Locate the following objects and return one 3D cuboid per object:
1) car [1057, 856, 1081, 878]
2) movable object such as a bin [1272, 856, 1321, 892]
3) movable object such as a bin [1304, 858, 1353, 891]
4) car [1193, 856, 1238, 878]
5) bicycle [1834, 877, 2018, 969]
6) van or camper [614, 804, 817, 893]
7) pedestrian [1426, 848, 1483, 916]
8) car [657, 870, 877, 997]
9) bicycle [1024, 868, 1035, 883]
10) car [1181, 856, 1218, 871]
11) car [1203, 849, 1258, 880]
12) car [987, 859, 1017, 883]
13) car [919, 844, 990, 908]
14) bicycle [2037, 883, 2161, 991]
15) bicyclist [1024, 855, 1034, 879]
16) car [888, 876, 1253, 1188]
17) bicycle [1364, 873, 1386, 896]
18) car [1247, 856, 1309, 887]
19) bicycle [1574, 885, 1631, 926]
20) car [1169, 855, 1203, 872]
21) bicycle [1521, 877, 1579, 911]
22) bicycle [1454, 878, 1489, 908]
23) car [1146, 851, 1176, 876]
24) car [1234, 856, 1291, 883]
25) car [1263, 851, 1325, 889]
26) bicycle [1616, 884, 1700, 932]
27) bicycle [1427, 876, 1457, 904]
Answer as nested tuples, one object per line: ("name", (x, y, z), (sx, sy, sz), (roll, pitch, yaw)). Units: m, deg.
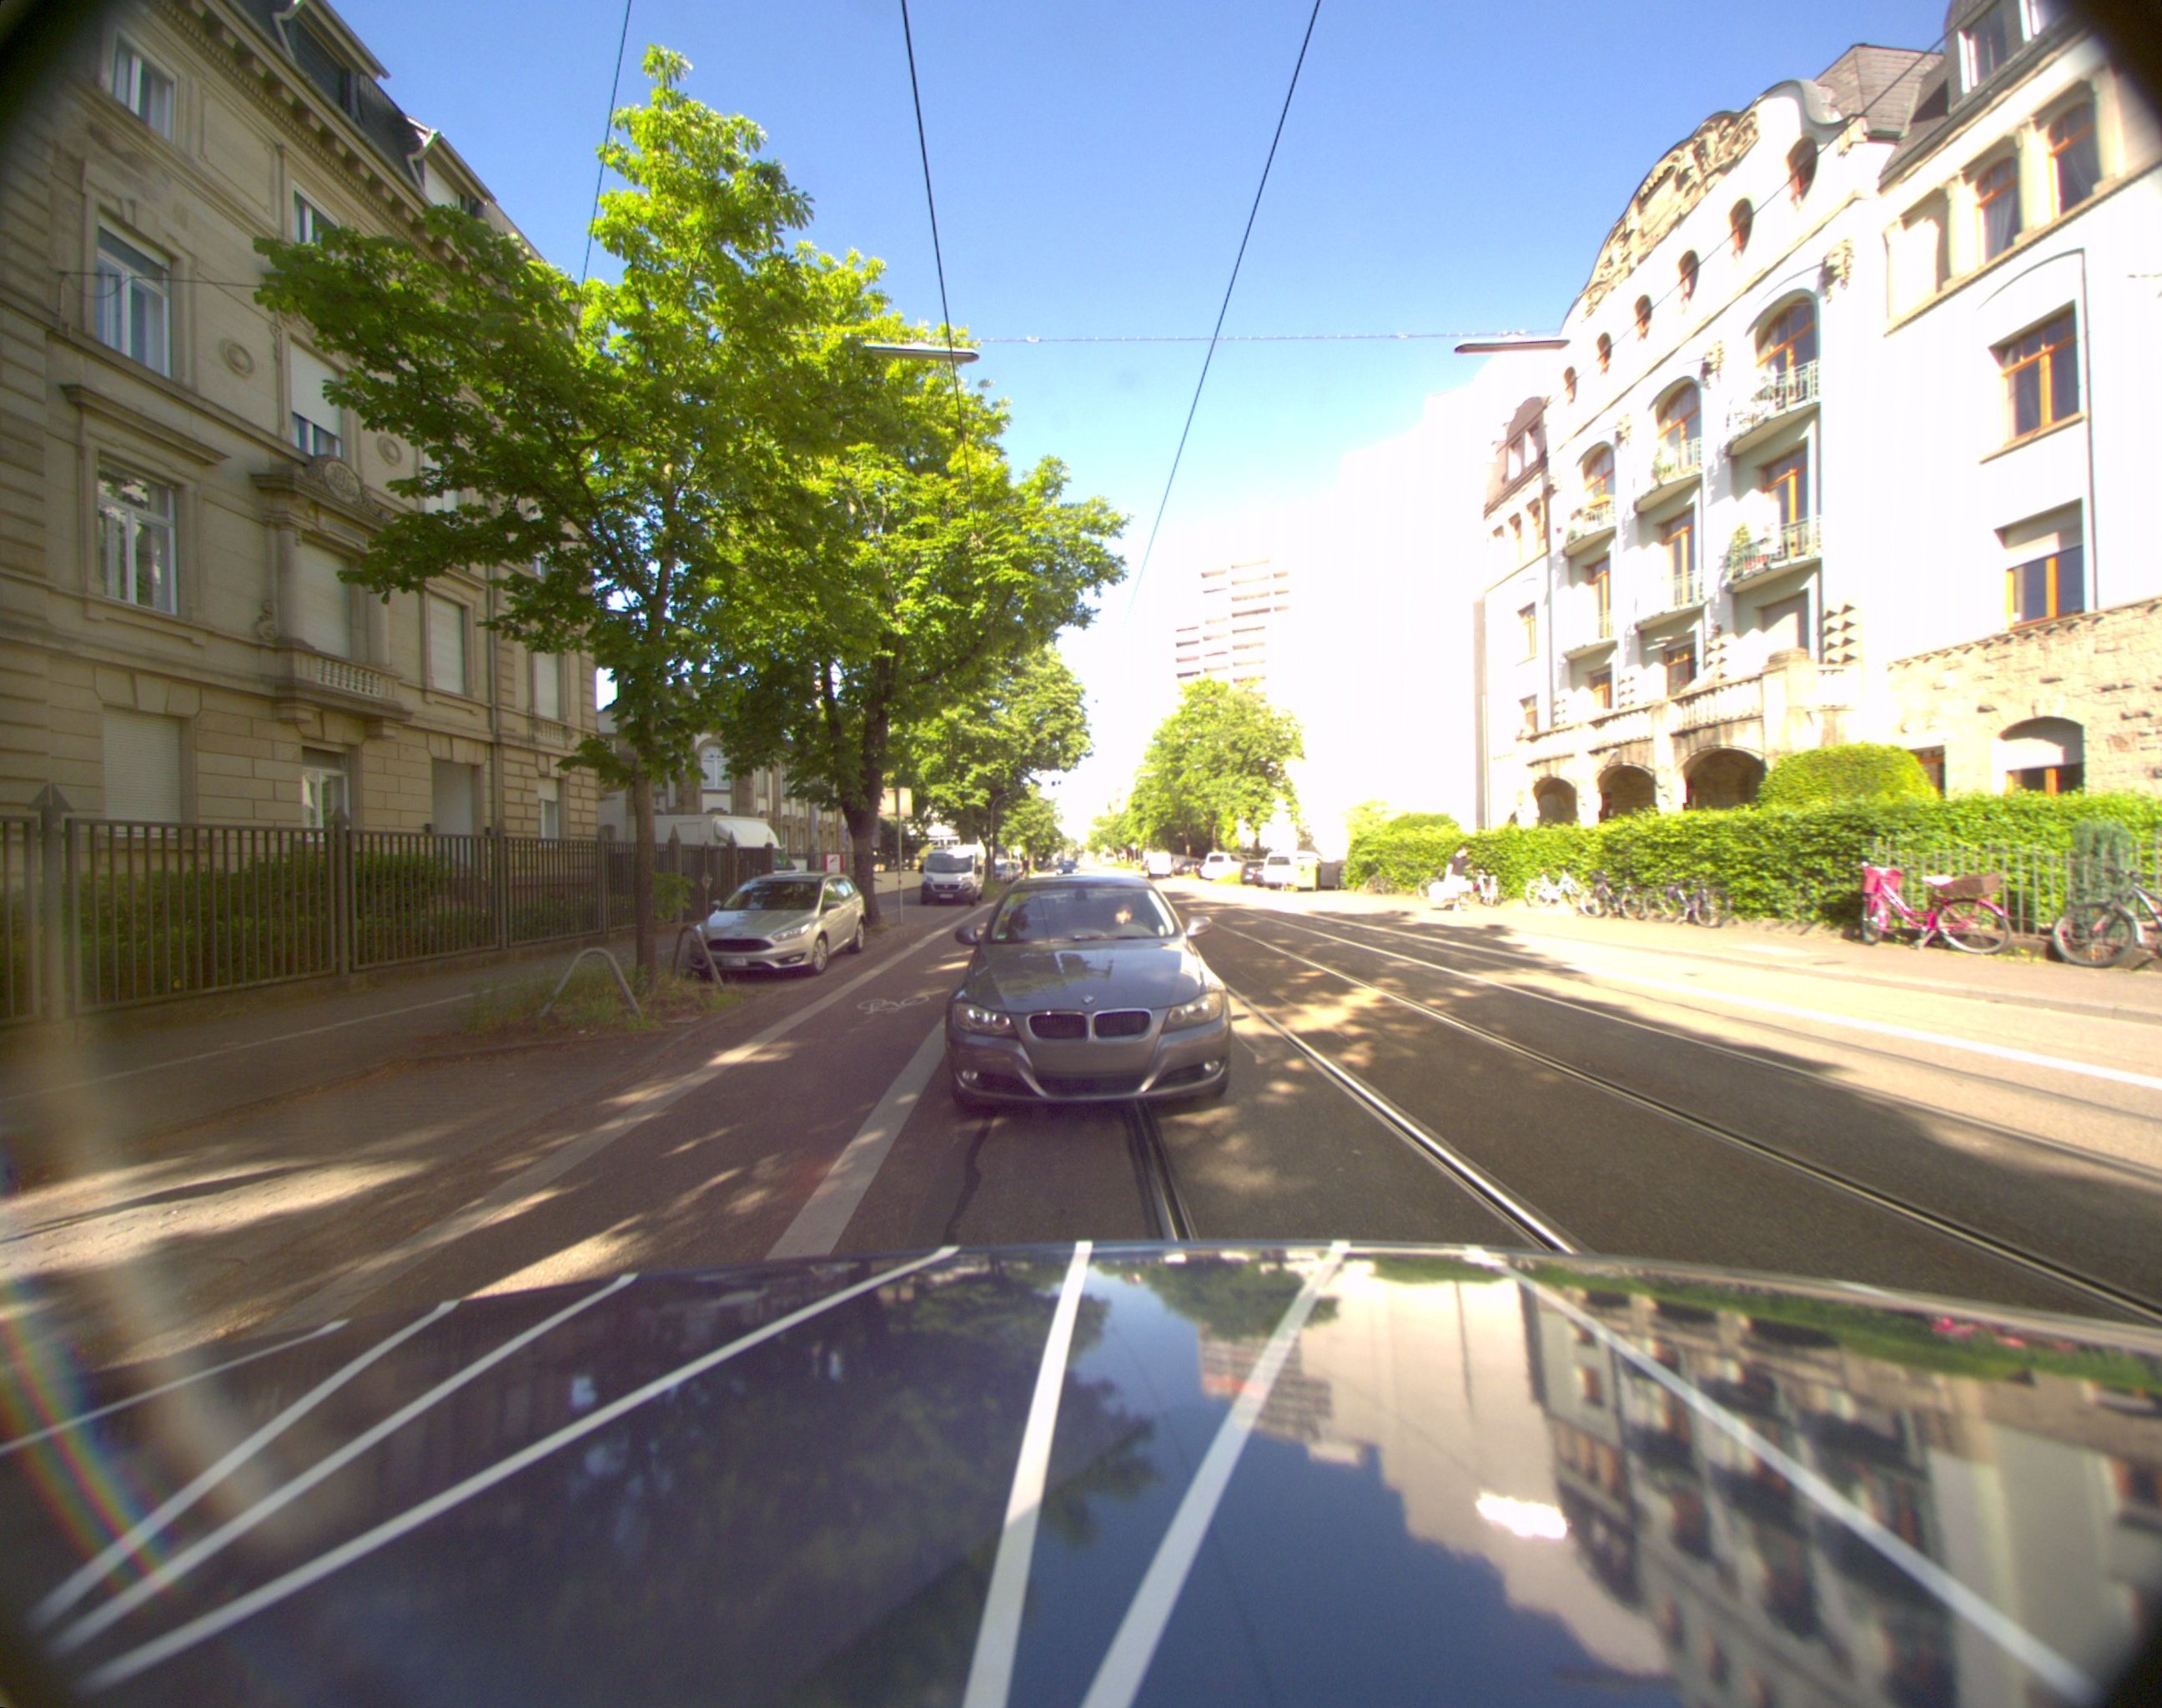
("car", (-0.936, 1.041, 61.129), (1.828, 1.559, 3.999), (-2, 1, 1))
("movable object such as a bin", (9.400, 0.848, 33.240), (1.512, 1.424, 2.096), (-2, 1, 1))
("movable object such as a bin", (11.115, 0.902, 34.209), (1.501, 1.309, 2.096), (-2, 1, 1))
("car", (9.472, 0.910, 53.543), (2.757, 1.427, 1.458), (-2, 1, -16))
("bicycle", (11.010, 0.856, 9.997), (0.405, 1.018, 1.816), (-2, 1, 1))
("van or camper", (-12.166, -0.135, 25.186), (6.721, 2.612, 2.126), (-2, 1, 24))
("pedestrian", (9.519, 0.695, 19.393), (0.869, 1.619, 0.870), (-6, 1, 1))
("car", (-4.706, 1.095, 12.170), (1.877, 1.534, 4.364), (0, 1, -3))
("bicycle", (-3.639, 1.500, 53.530), (0.535, 0.917, 2.057), (-2, 1, 1))
("car", (9.765, 0.804, 62.696), (2.757, 1.083, 1.226), (-2, 1, -16))
("car", (9.898, 0.683, 50.114), (3.450, 1.860, 1.918), (-3, 1, -44))
("car", (-5.536, 1.188, 53.760), (1.866, 1.541, 4.101), (-2, 1, -3))
("car", (-4.980, 0.774, 30.780), (2.132, 2.329, 5.803), (0, 1, -3))
("bicycle", (11.079, 0.861, 7.741), (0.405, 1.018, 1.816), (-2, 1, 1))
("bicyclist", (-3.653, 0.935, 53.518), (0.532, 1.660, 0.878), (-2, 1, 1))
("car", (-0.027, 1.002, 6.012), (1.869, 1.426, 3.999), (-2, 1, 1))
("bicycle", (10.630, 1.100, 27.454), (0.297, 0.757, 1.263), (-2, 1, 1))
("car", (10.266, 0.893, 39.657), (2.757, 1.427, 1.458), (-2, 1, -16))
("bicycle", (10.914, 1.060, 15.931), (0.339, 0.757, 1.263), (-2, 1, 1))
("car", (9.668, 0.852, 69.897), (2.757, 1.417, 1.226), (-2, 1, -16))
("bicycle", (11.789, 1.003, 19.102), (1.262, 0.789, 0.297), (-2, 1, 1))
("bicycle", (10.740, 1.058, 20.910), (0.318, 0.757, 1.263), (-2, 1, 1))
("car", (6.633, 0.732, 62.641), (1.997, 1.893, 4.003), (-2, 1, 11))
("car", (10.263, 0.856, 43.024), (2.757, 1.427, 1.458), (-2, 1, -16))
("car", (10.296, 0.775, 36.645), (3.194, 1.763, 1.456), (1, -2, -45))
("bicycle", (10.914, 1.000, 14.425), (0.405, 0.757, 1.581), (-2, 1, 1))
("bicycle", (10.764, 1.068, 22.702), (0.297, 0.757, 1.263), (-2, 1, 1))
